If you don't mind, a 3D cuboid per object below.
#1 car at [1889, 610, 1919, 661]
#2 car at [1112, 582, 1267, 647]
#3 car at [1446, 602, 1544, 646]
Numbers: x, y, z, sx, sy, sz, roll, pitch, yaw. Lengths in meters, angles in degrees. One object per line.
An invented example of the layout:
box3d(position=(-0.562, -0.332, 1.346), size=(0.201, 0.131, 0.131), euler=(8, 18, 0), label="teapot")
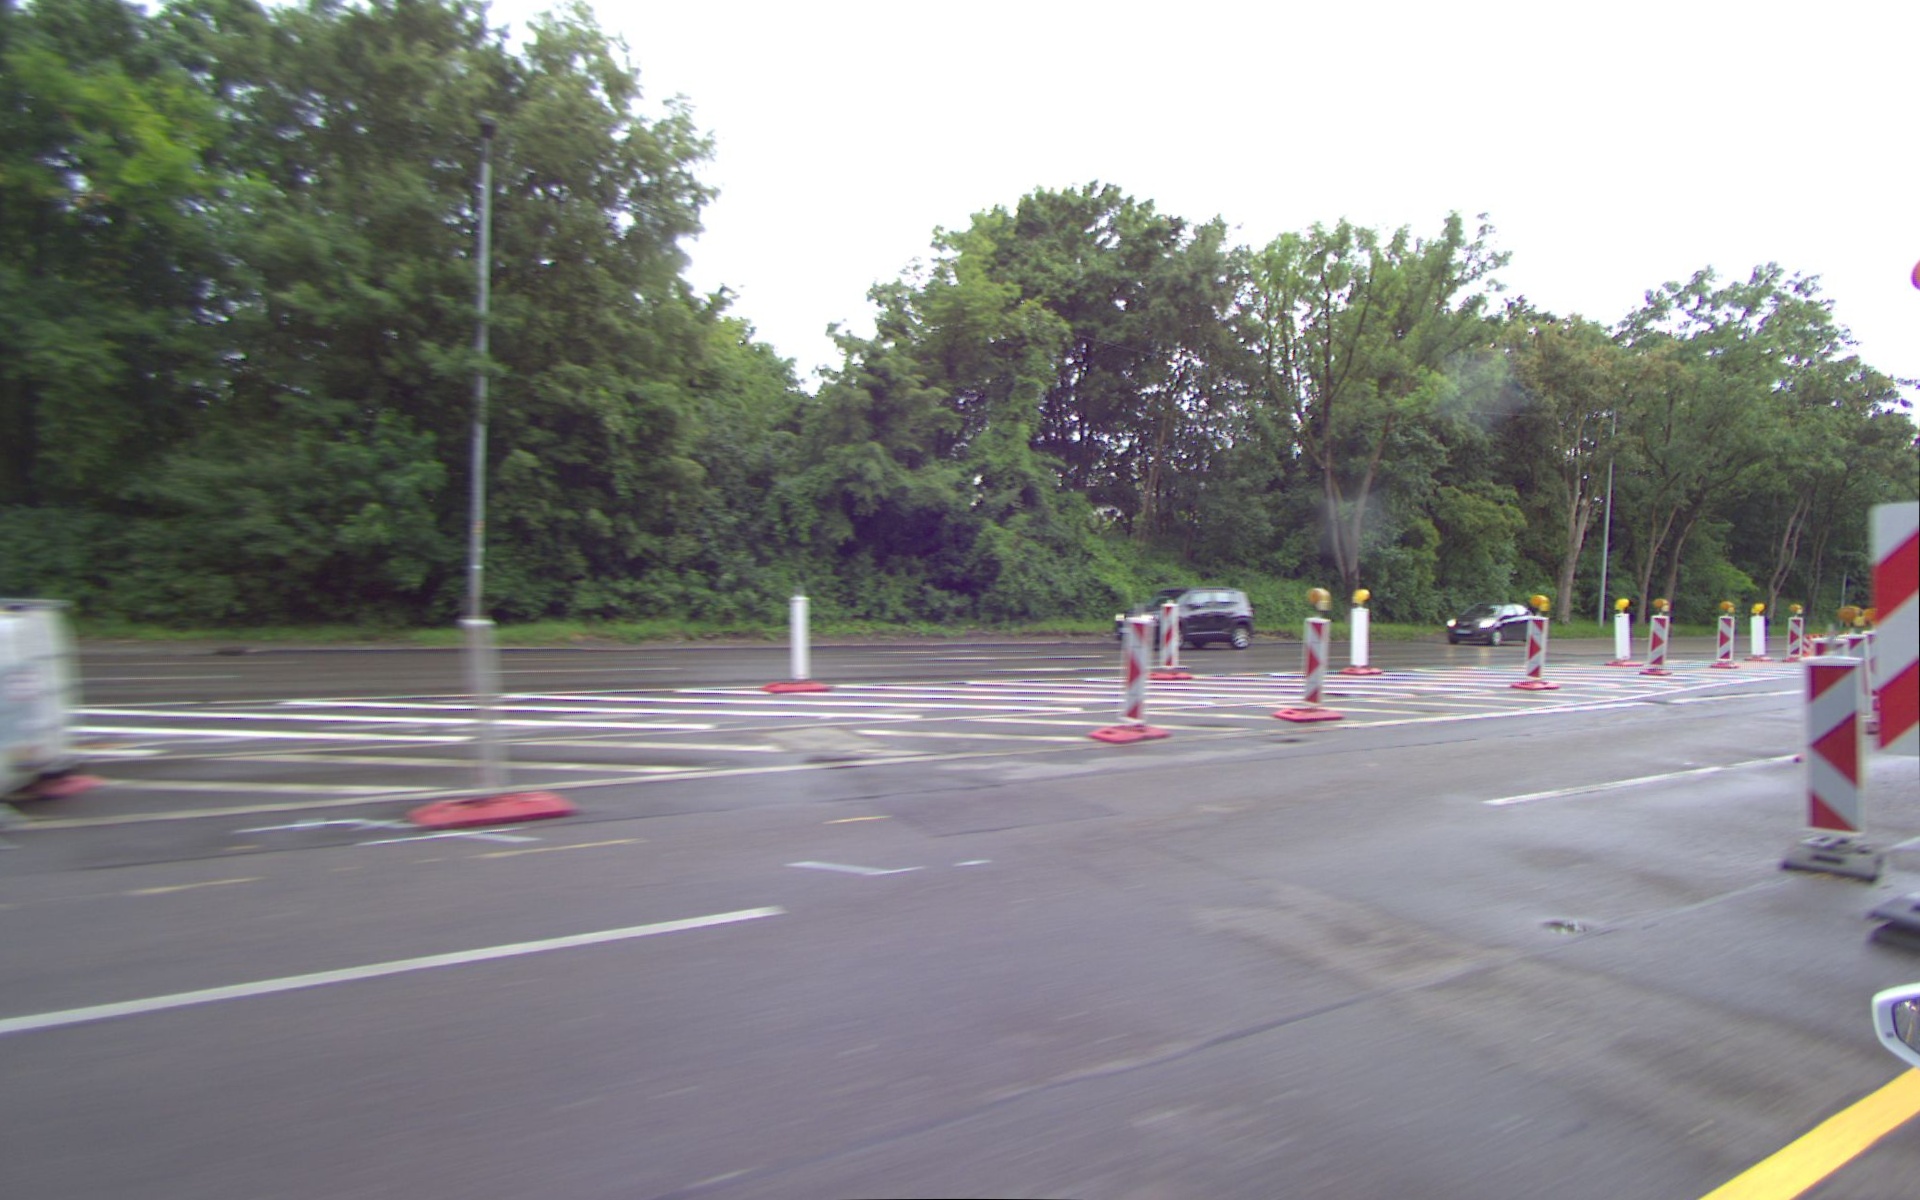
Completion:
box3d(position=(33.168, 1.189, 33.855), size=(3.959, 1.512, 1.850), euler=(-2, 4, -35), label="car")
box3d(position=(6.283, 0.390, 27.393), size=(4.150, 1.669, 1.627), euler=(1, 0, -31), label="car")
box3d(position=(18.958, 0.838, 35.570), size=(3.499, 1.476, 1.517), euler=(1, 0, -32), label="car")
